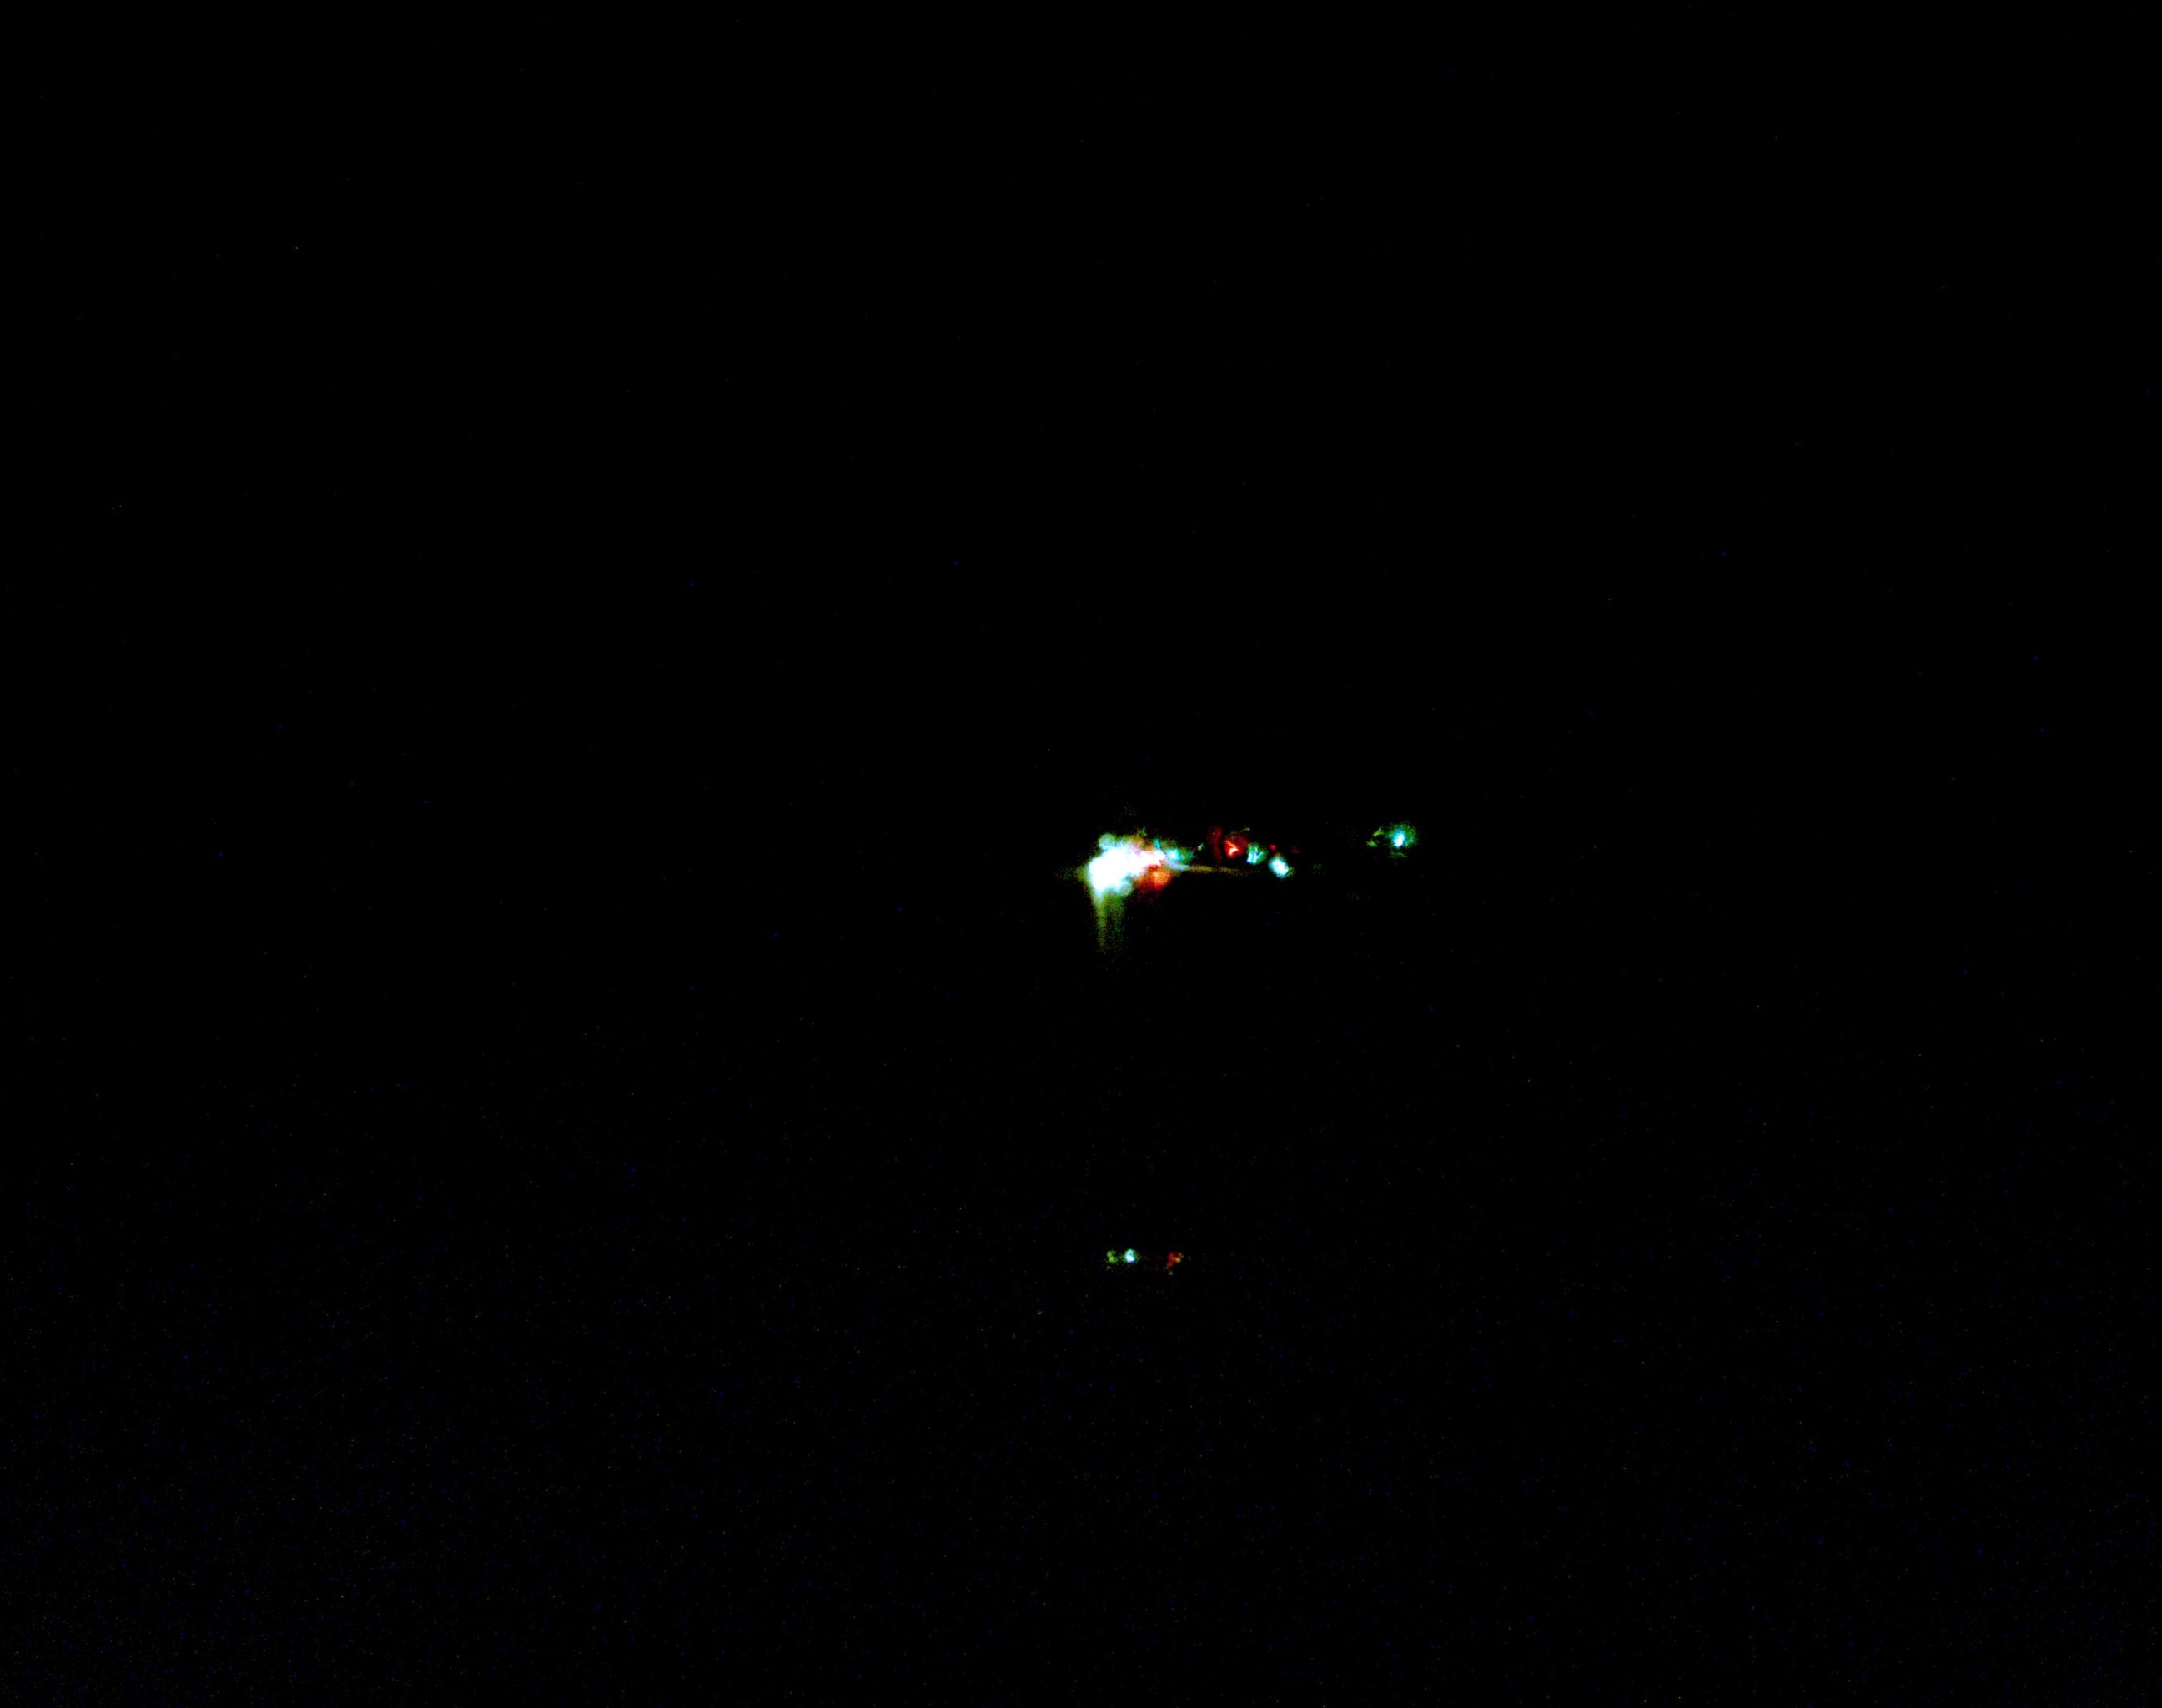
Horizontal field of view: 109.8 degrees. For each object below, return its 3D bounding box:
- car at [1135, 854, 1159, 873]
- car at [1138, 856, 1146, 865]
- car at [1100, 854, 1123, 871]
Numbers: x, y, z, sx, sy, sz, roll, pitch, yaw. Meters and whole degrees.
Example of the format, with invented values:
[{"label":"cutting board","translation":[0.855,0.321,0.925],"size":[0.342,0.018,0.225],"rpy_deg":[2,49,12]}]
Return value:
[{"label":"car","translation":[6.040,0.852,69.471],"size":[1.931,1.693,4.001],"rpy_deg":[-2,0,2]},{"label":"car","translation":[12.140,1.255,151.295],"size":[1.657,1.673,4.522],"rpy_deg":[-2,0,5]},{"label":"car","translation":[3.083,0.807,75.417],"size":[1.877,1.578,4.891],"rpy_deg":[-2,0,6]}]
